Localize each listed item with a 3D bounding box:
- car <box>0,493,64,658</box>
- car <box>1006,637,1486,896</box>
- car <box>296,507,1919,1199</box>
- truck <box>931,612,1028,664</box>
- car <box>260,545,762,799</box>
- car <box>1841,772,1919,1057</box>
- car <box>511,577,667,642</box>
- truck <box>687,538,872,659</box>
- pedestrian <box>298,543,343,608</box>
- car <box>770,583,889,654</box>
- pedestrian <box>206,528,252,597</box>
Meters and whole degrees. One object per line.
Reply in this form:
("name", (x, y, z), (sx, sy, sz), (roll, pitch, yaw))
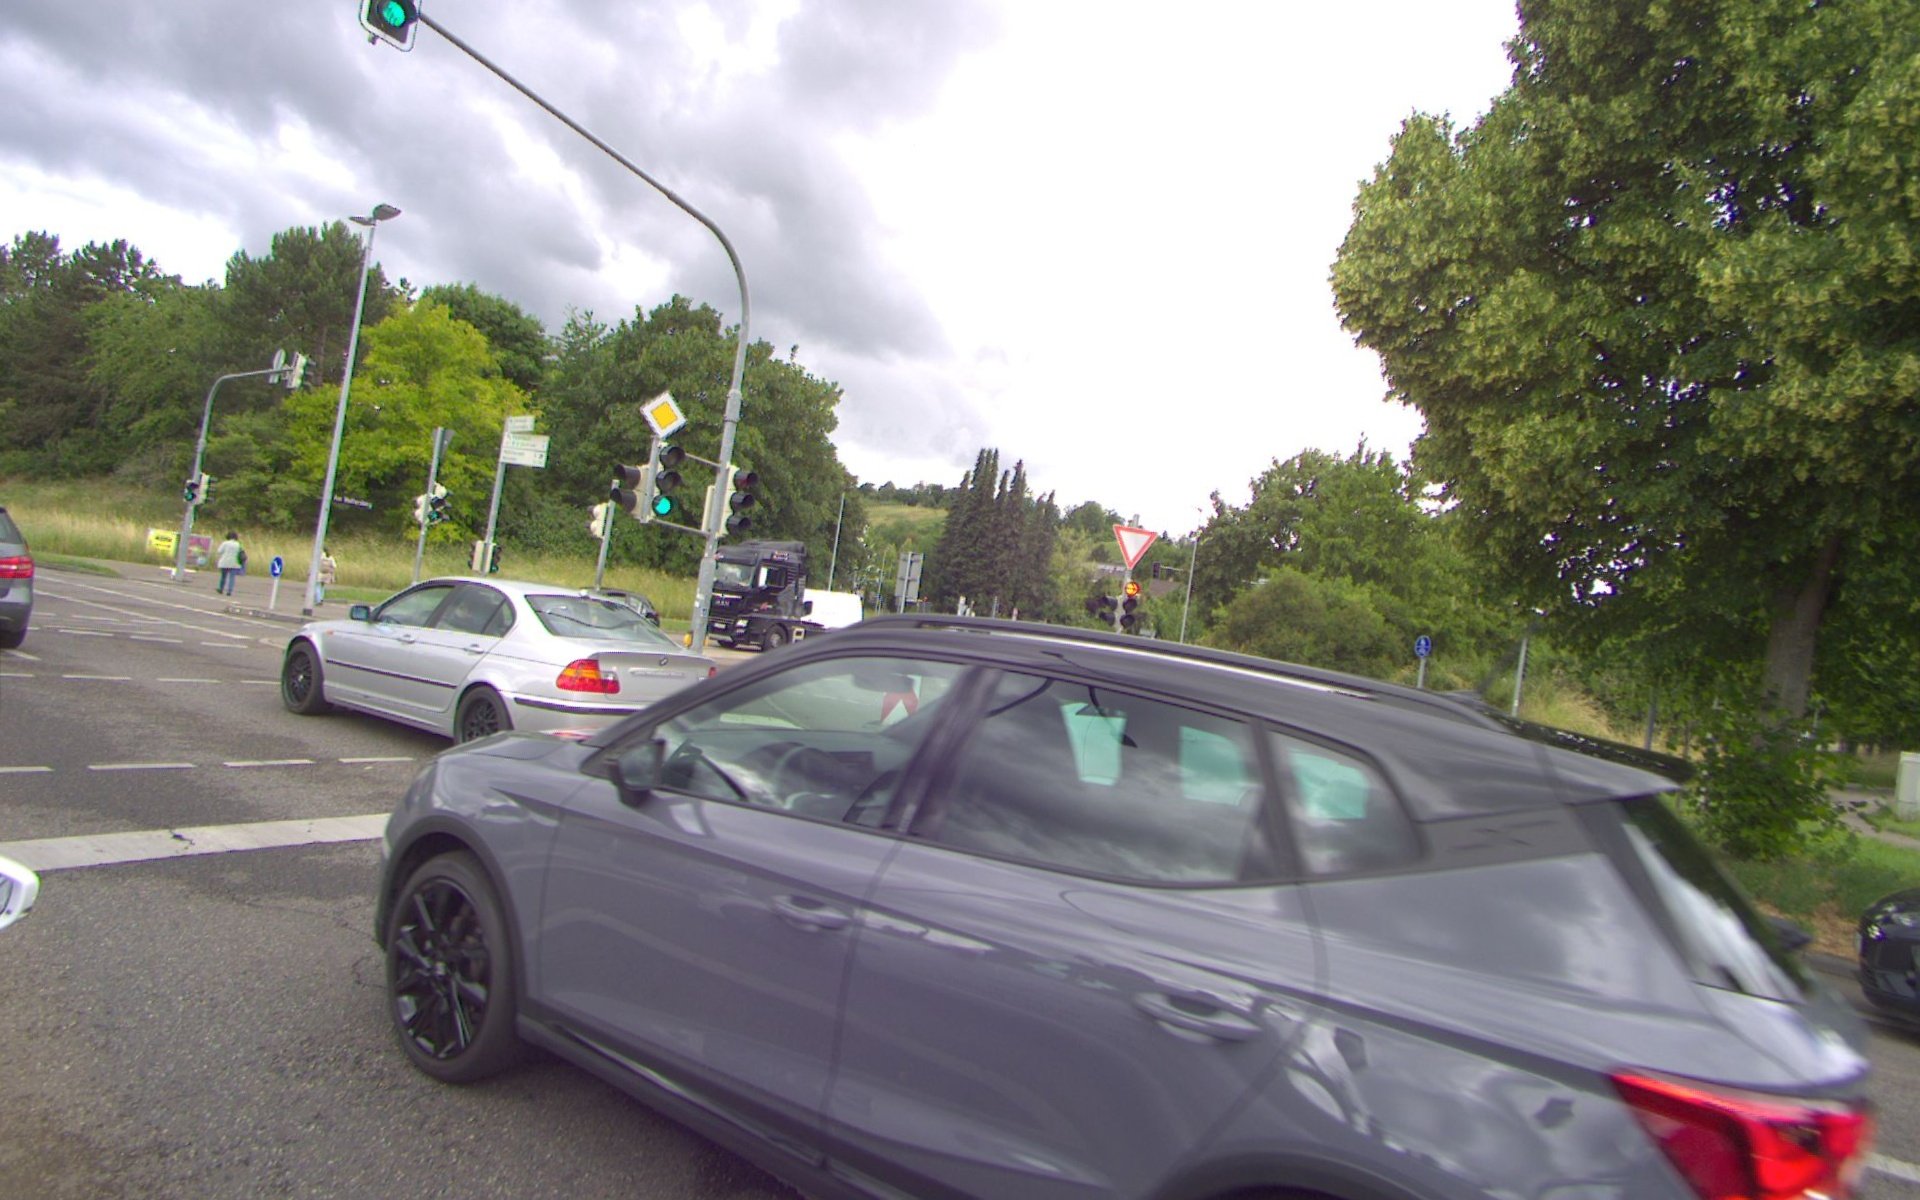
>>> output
("car", (-10.902, -0.475, 10.025), (3.933, 1.525, 1.750), (7, -2, 31))
("car", (2.615, 1.501, 10.172), (1.752, 1.673, 4.325), (10, -3, -37))
("car", (-0.009, 0.752, 2.886), (3.774, 1.511, 1.627), (8, -1, 32))
("truck", (1.196, 2.234, 57.705), (2.131, 2.255, 6.020), (6, -3, 40))
("car", (-3.938, 0.515, 8.622), (4.219, 1.398, 1.750), (7, -2, 32))
("car", (7.166, 2.018, 5.348), (3.511, 1.524, 1.603), (6, -2, 38))
("car", (-10.590, 0.308, 28.965), (1.669, 1.353, 3.882), (6, -3, 34))
("truck", (-6.190, 0.052, 35.385), (2.648, 3.527, 6.004), (6, -1, 34))
("pedestrian", (-17.043, -0.646, 26.830), (0.703, 1.630, 0.644), (6, -1, 37))
("car", (-6.024, 0.933, 47.342), (1.968, 2.660, 5.814), (6, -2, 34))
("pedestrian", (-19.033, -0.968, 26.207), (0.703, 1.681, 0.644), (6, -1, 39))
